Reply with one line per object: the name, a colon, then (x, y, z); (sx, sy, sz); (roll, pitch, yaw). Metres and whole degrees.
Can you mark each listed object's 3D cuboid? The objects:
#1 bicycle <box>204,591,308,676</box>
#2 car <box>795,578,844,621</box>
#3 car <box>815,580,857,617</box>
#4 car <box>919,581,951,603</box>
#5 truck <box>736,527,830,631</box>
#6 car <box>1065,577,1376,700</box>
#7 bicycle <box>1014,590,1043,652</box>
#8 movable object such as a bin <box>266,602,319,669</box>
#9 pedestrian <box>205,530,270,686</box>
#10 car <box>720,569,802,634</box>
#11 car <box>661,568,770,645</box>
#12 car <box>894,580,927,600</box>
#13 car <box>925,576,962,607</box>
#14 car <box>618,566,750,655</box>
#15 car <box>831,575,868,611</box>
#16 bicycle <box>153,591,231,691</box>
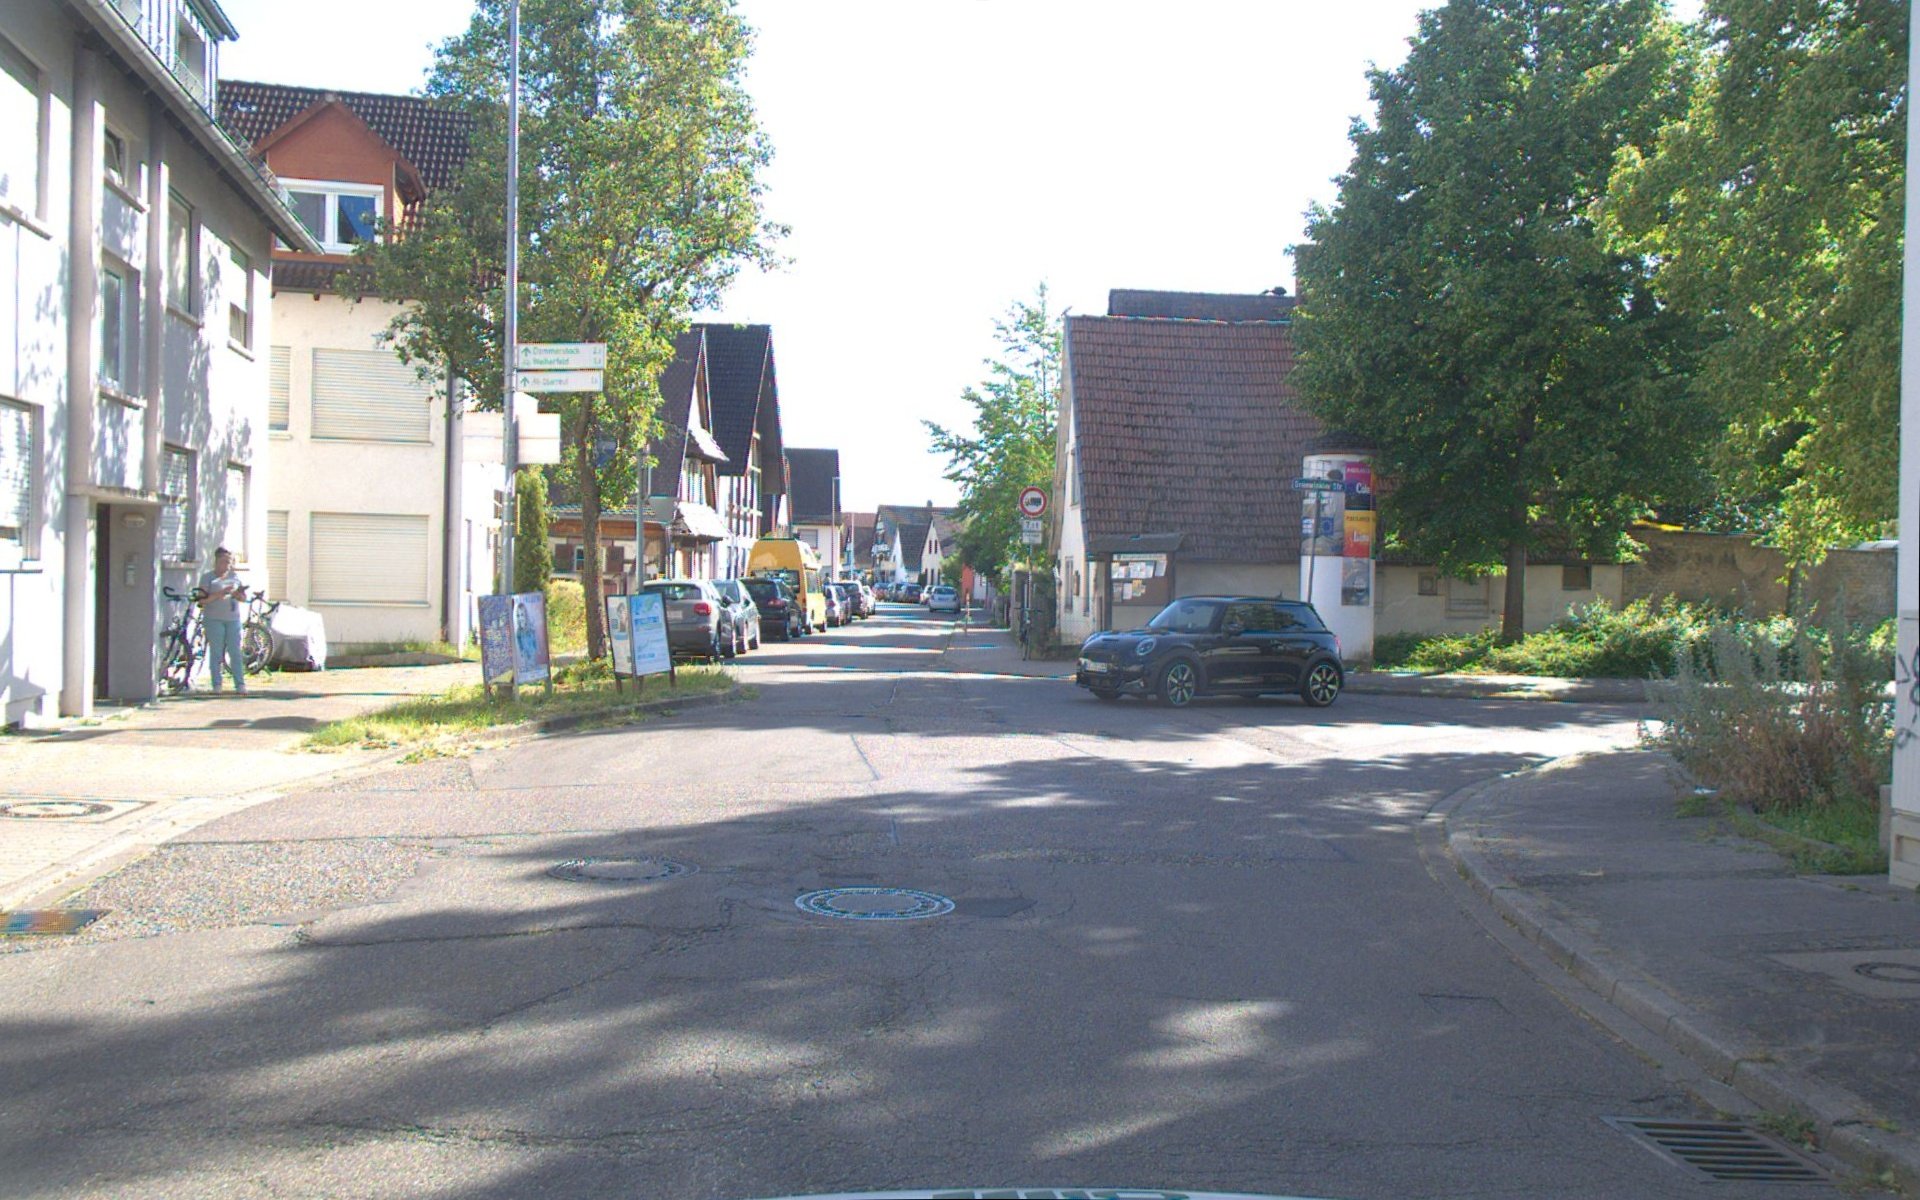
bicycle: (-9.260, 0.426, 21.826); (0.566, 1.071, 2.035); (1, 0, -2)
car: (-4.998, -0.042, 59.142); (1.613, 1.457, 3.612); (1, 0, -4)
car: (-4.761, -0.063, 63.789); (1.556, 1.359, 3.612); (1, 0, -4)
car: (-1.922, -0.643, 127.298); (1.936, 1.610, 3.988); (1, 0, -8)
truck: (-5.248, -0.595, 49.864); (2.222, 2.918, 5.782); (1, 0, -1)
car: (3.520, 0.502, 22.192); (3.942, 1.503, 1.650); (1, 1, -29)
bicycle: (1.390, 0.405, 33.399); (0.424, 1.197, 1.830); (1, 1, 7)
movable object such as a bin: (-9.795, 0.511, 24.289); (0.615, 0.962, 0.658); (1, 0, -14)
pedestrian: (-8.172, 0.095, 18.718); (0.474, 1.722, 0.556); (1, -1, -6)
car: (-5.305, 0.031, 44.524); (1.770, 1.650, 3.880); (1, 0, -1)
car: (-5.191, 0.134, 35.591); (1.770, 1.532, 4.107); (1, 0, -1)
car: (-4.196, -0.887, 139.677); (1.940, 1.610, 3.979); (1, 0, -15)
car: (-0.993, -0.519, 97.078); (1.934, 1.743, 3.992); (1, 0, -4)
car: (-5.126, 0.181, 31.200); (1.829, 1.532, 4.107); (1, 0, -1)
car: (-4.814, -0.315, 72.348); (1.556, 1.468, 3.612); (1, 0, -4)
bicycle: (-8.566, 0.445, 18.488); (0.415, 1.071, 1.378); (1, -1, -9)
